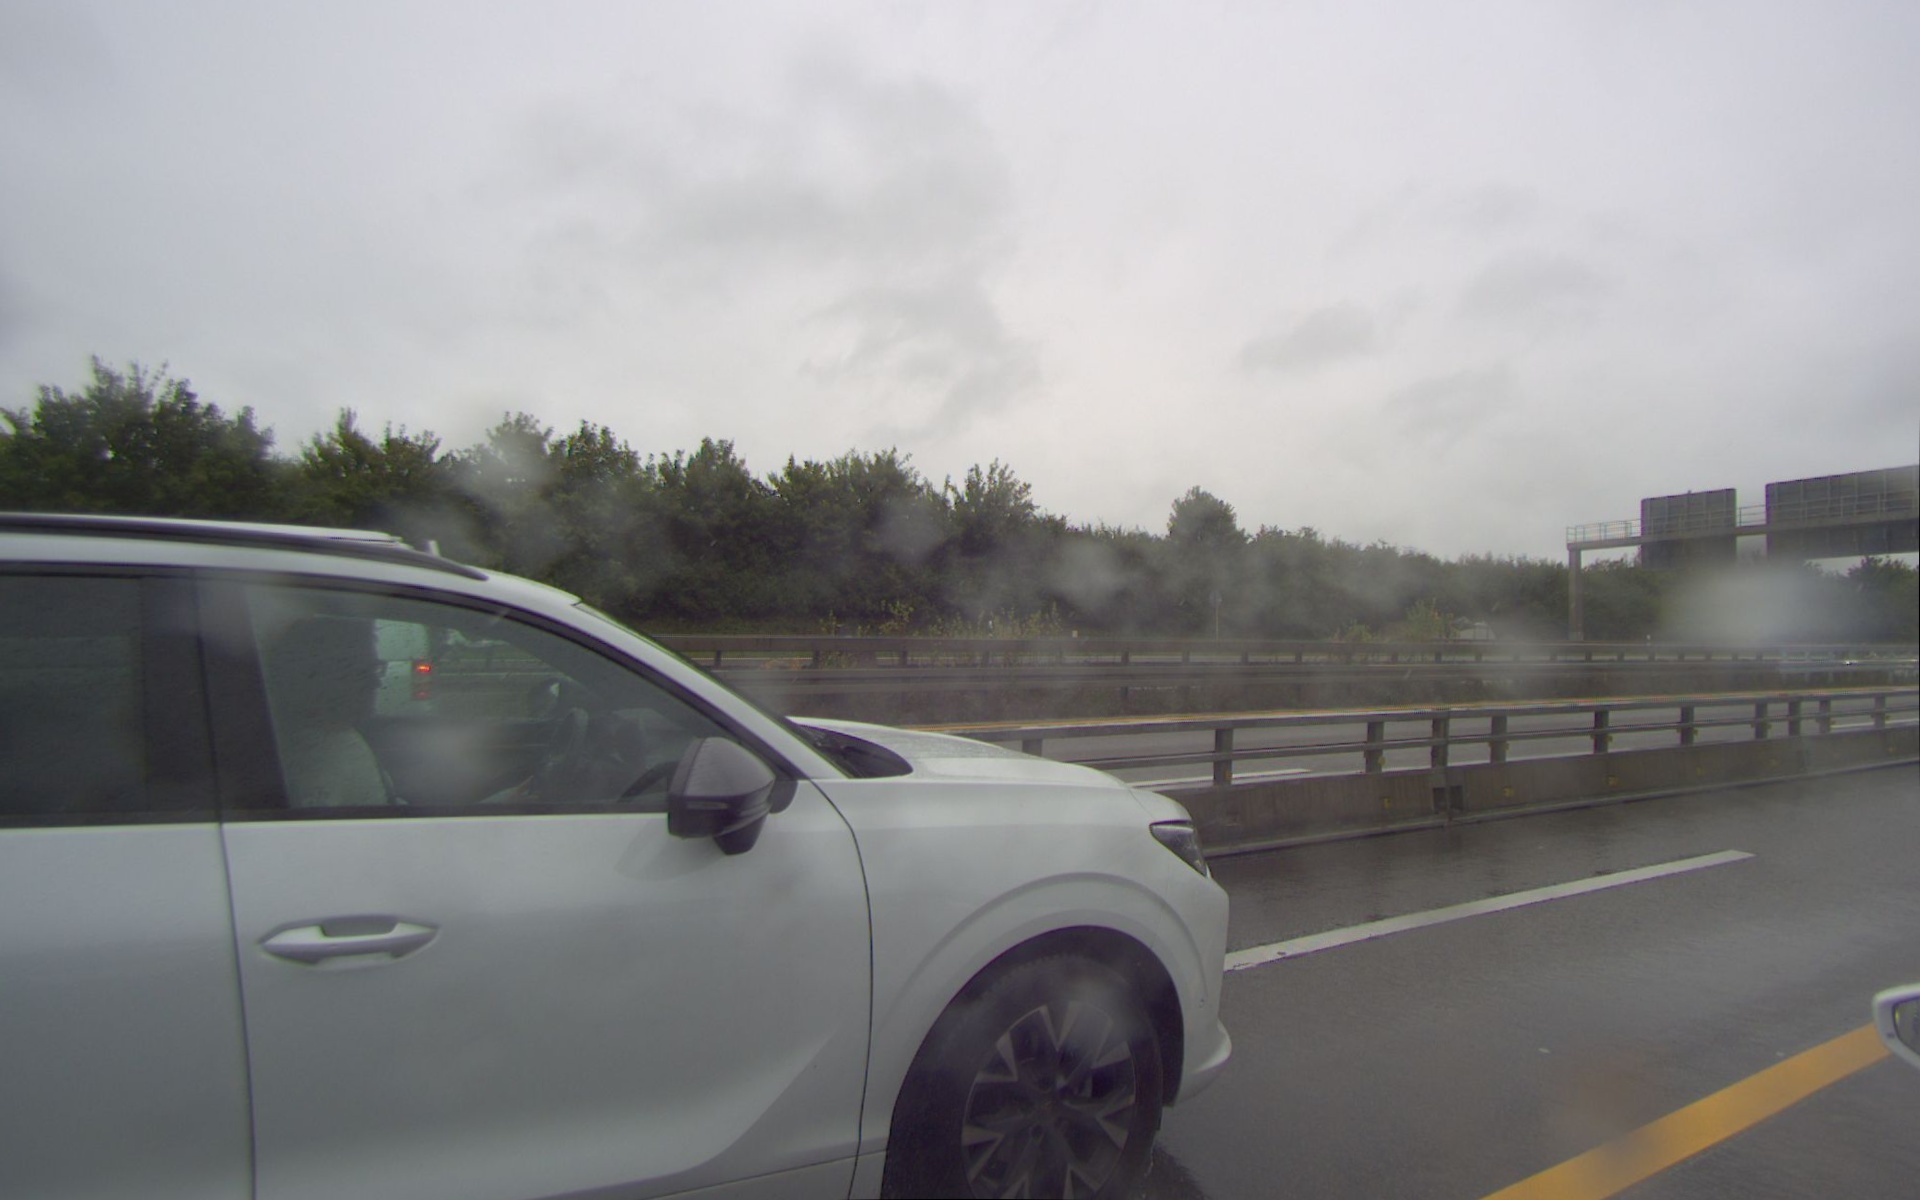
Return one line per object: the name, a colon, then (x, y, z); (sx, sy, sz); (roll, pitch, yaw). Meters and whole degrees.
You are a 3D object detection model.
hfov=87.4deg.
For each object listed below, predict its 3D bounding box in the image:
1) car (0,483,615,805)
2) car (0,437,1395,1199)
car: (-5.188, 0.268, 6.967); (4.996, 1.831, 1.882); (2, 0, -31)
car: (-1.428, 0.610, 2.333); (4.738, 1.639, 1.985); (2, 0, -29)
